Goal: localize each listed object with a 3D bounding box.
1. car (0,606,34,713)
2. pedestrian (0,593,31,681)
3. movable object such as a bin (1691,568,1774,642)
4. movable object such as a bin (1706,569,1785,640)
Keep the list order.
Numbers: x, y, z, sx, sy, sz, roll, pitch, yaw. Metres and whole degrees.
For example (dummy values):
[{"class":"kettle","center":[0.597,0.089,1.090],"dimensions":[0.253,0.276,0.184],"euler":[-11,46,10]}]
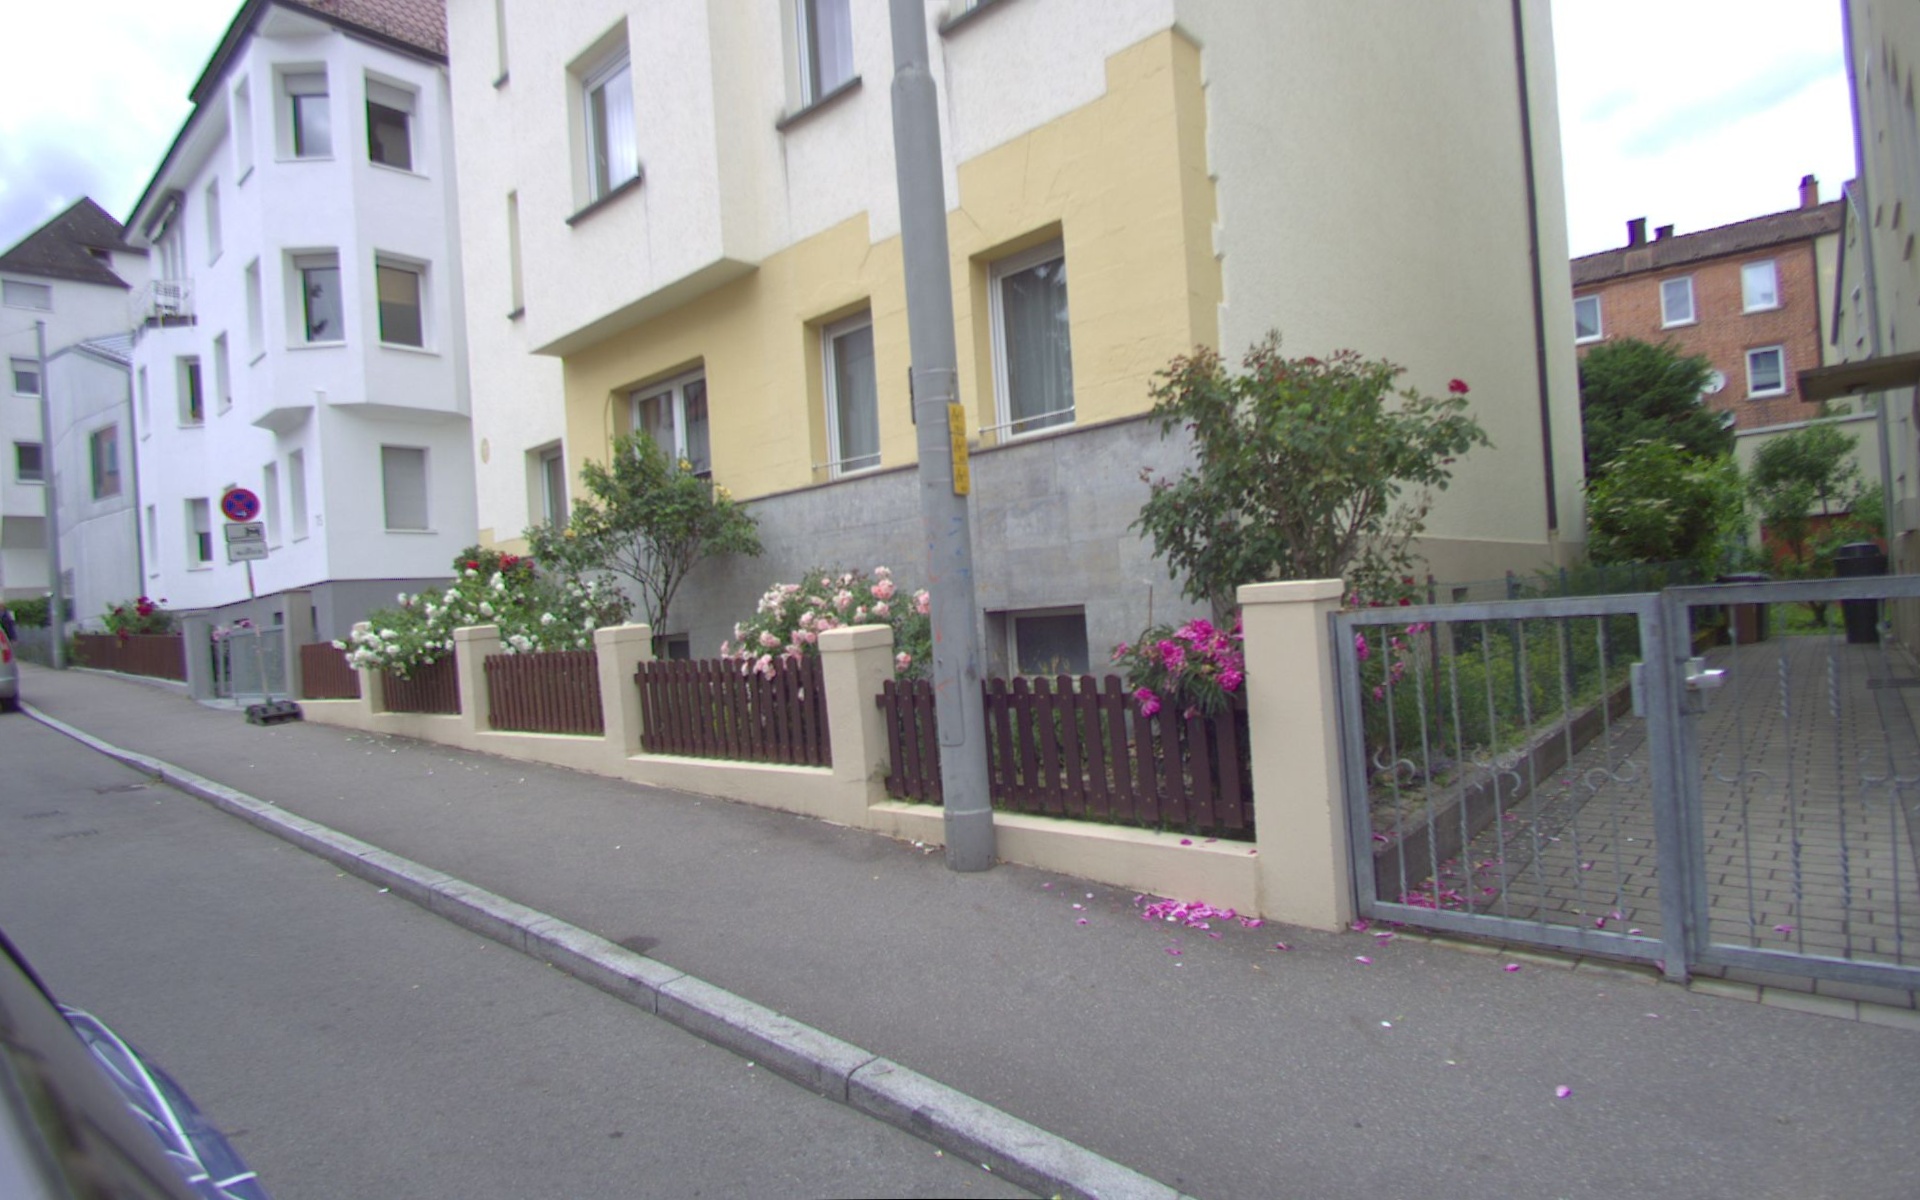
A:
[{"class":"car","center":[-16.933,1.019,16.691],"dimensions":[4.282,1.643,1.827],"euler":[-2,0,39]},{"class":"pedestrian","center":[-21.305,0.821,22.441],"dimensions":[0.805,1.899,0.850],"euler":[-2,0,-26]},{"class":"movable object such as a bin","center":[11.409,0.075,14.947],"dimensions":[0.891,1.047,0.856],"euler":[-2,-1,41]},{"class":"movable object such as a bin","center":[12.107,0.075,15.600],"dimensions":[0.891,1.047,0.856],"euler":[-2,-1,41]}]
